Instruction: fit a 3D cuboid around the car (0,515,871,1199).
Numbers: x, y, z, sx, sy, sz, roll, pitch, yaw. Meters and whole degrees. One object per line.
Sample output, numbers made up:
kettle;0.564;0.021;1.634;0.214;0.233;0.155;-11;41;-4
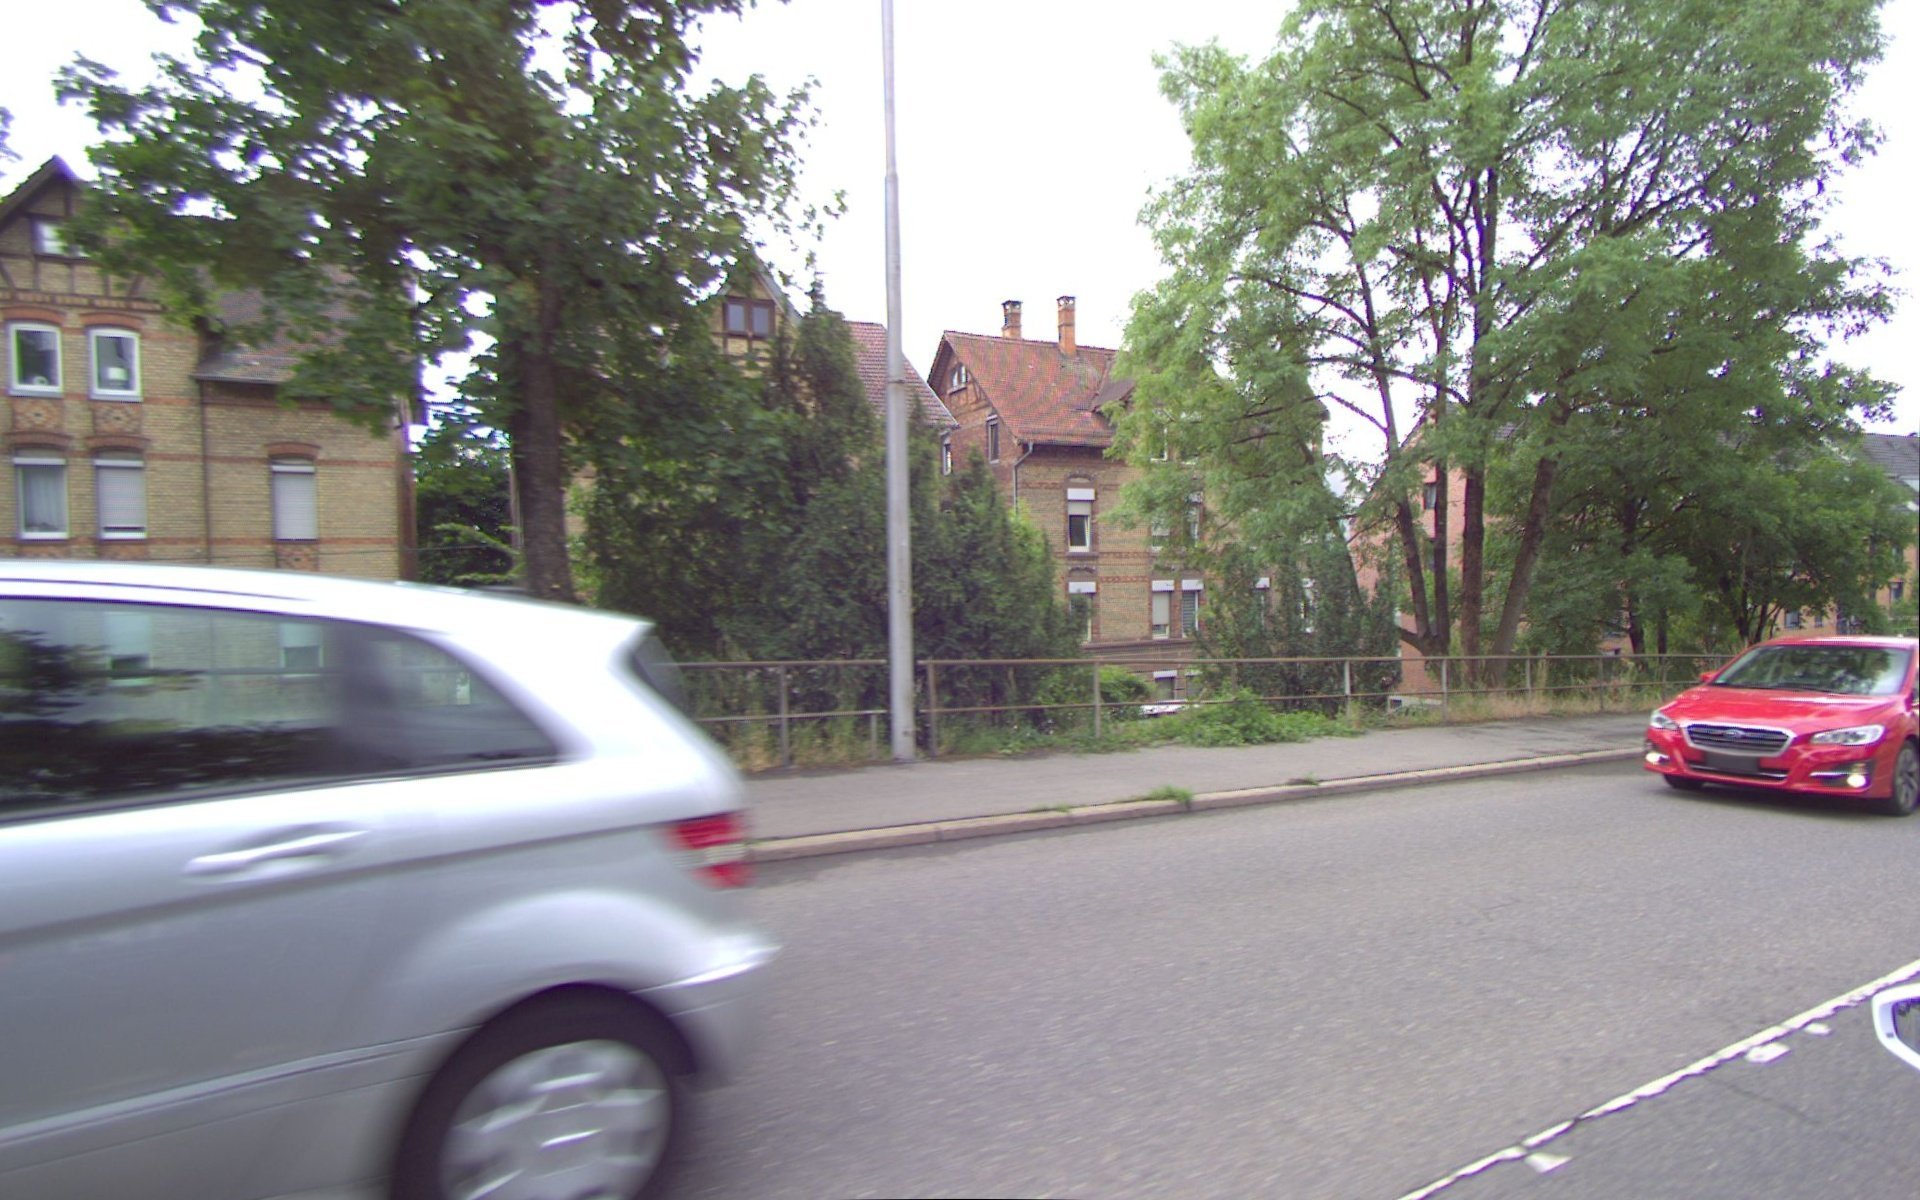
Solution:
car;-2.494;0.654;2.265;4.231;1.595;1.775;2;-2;-31

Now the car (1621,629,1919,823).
car;8.430;1.045;9.652;4.377;1.478;1.775;2;-2;-31

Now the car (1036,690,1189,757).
car;4.283;3.418;28.224;3.944;1.530;1.790;1;-1;-24

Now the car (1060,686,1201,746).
car;5.210;3.503;30.755;3.944;1.530;1.790;1;-1;-24
